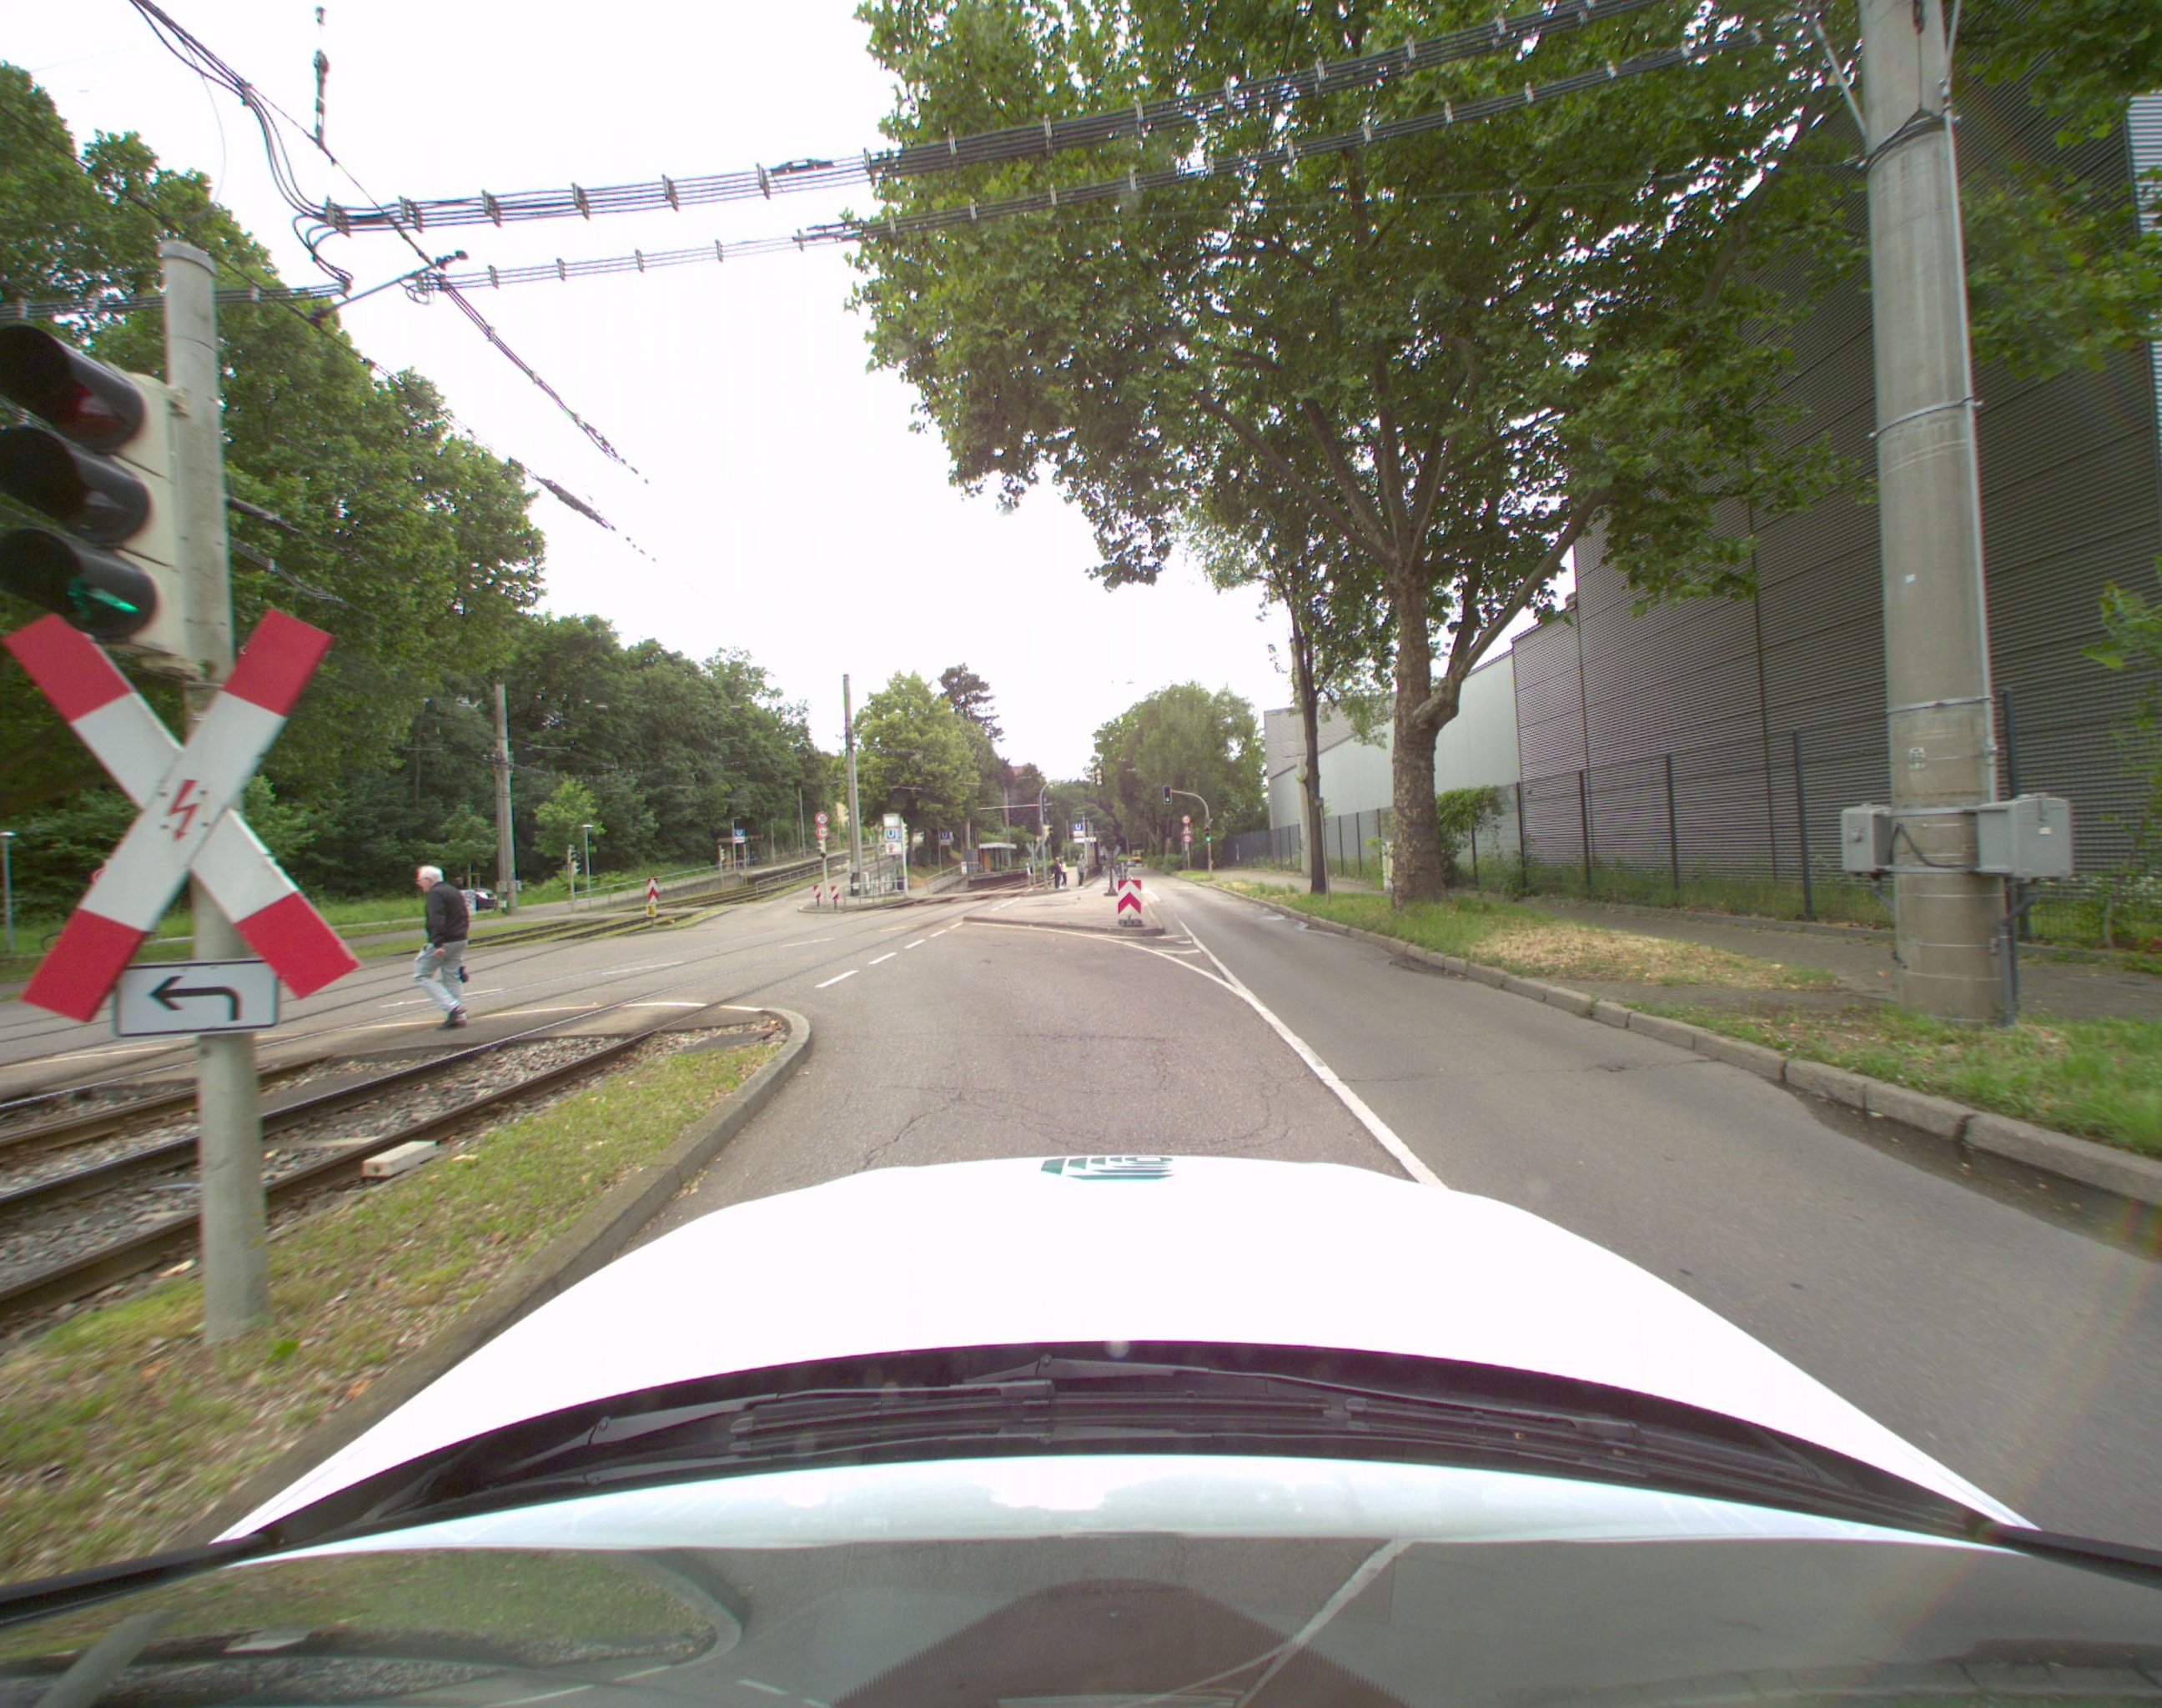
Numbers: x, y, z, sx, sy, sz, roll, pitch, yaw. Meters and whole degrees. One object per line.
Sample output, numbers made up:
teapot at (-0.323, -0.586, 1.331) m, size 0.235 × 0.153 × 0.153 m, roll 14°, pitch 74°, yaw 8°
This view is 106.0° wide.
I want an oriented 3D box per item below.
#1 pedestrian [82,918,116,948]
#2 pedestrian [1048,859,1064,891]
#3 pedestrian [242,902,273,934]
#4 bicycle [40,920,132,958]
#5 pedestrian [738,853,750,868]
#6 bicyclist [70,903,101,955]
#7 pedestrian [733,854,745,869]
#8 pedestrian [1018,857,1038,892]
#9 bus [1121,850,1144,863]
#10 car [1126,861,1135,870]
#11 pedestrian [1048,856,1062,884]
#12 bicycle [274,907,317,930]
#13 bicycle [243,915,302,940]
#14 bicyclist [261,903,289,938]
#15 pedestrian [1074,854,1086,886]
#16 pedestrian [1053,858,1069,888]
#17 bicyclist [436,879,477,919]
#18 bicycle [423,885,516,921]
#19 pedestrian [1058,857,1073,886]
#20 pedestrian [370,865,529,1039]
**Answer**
pedestrian at (-35.075, 2.813, 29.085) m, size 0.526 × 0.989 × 0.623 m, roll -1°, pitch -1°, yaw 17°
pedestrian at (-1.296, 1.082, 42.405) m, size 0.732 × 1.665 × 0.682 m, roll -1°, pitch -1°, yaw 4°
pedestrian at (-33.189, 2.573, 32.834) m, size 0.574 × 1.235 × 0.676 m, roll -1°, pitch -1°, yaw 16°
bicycle at (-33.811, 2.856, 27.701) m, size 0.469 × 1.041 × 1.957 m, roll 1°, pitch 2°, yaw 38°
pedestrian at (-29.999, 0.606, 72.420) m, size 0.770 × 1.326 × 0.785 m, roll 0°, pitch -1°, yaw -6°
bicyclist at (-33.827, 2.534, 27.669) m, size 0.469 × 1.674 × 0.628 m, roll 1°, pitch 2°, yaw 38°
pedestrian at (-29.870, 0.658, 71.119) m, size 0.770 × 1.326 × 0.786 m, roll 0°, pitch 2°, yaw -6°
pedestrian at (-2.812, 1.058, 42.910) m, size 0.809 × 1.821 × 0.662 m, roll 0°, pitch -1°, yaw -43°
bus at (14.670, 0.670, 229.560) m, size 2.708 × 3.626 × 8.997 m, roll -1°, pitch -1°, yaw 30°
car at (9.858, 2.316, 162.480) m, size 1.737 × 1.599 × 4.002 m, roll -2°, pitch -1°, yaw 2°
pedestrian at (-1.570, 0.967, 49.214) m, size 0.735 × 1.665 × 0.680 m, roll 0°, pitch -1°, yaw -8°
bicycle at (-32.990, 2.701, 34.201) m, size 1.726 × 0.885 × 0.625 m, roll -1°, pitch -1°, yaw 22°
bicycle at (-31.632, 2.875, 31.887) m, size 0.449 × 0.738 × 1.568 m, roll 1°, pitch 4°, yaw 24°
bicyclist at (-31.607, 2.597, 31.935) m, size 0.449 × 1.301 × 0.584 m, roll 1°, pitch 4°, yaw 24°
pedestrian at (-0.046, 0.899, 46.201) m, size 0.547 × 1.758 × 0.739 m, roll -1°, pitch -1°, yaw 7°
pedestrian at (-1.120, 1.049, 45.040) m, size 0.674 × 1.665 × 0.741 m, roll -1°, pitch -1°, yaw 18°
bicyclist at (-28.871, 2.068, 37.658) m, size 0.726 × 1.711 × 1.301 m, roll 2°, pitch 4°, yaw 34°
bicycle at (-28.556, 2.258, 38.134) m, size 0.726 × 1.289 × 3.369 m, roll 2°, pitch 4°, yaw 34°
pedestrian at (-0.908, 1.034, 47.744) m, size 0.673 × 1.665 × 0.741 m, roll -1°, pitch -1°, yaw 23°
pedestrian at (-6.822, 1.012, 8.862) m, size 1.118 × 1.760 × 0.810 m, roll -1°, pitch -1°, yaw -13°
